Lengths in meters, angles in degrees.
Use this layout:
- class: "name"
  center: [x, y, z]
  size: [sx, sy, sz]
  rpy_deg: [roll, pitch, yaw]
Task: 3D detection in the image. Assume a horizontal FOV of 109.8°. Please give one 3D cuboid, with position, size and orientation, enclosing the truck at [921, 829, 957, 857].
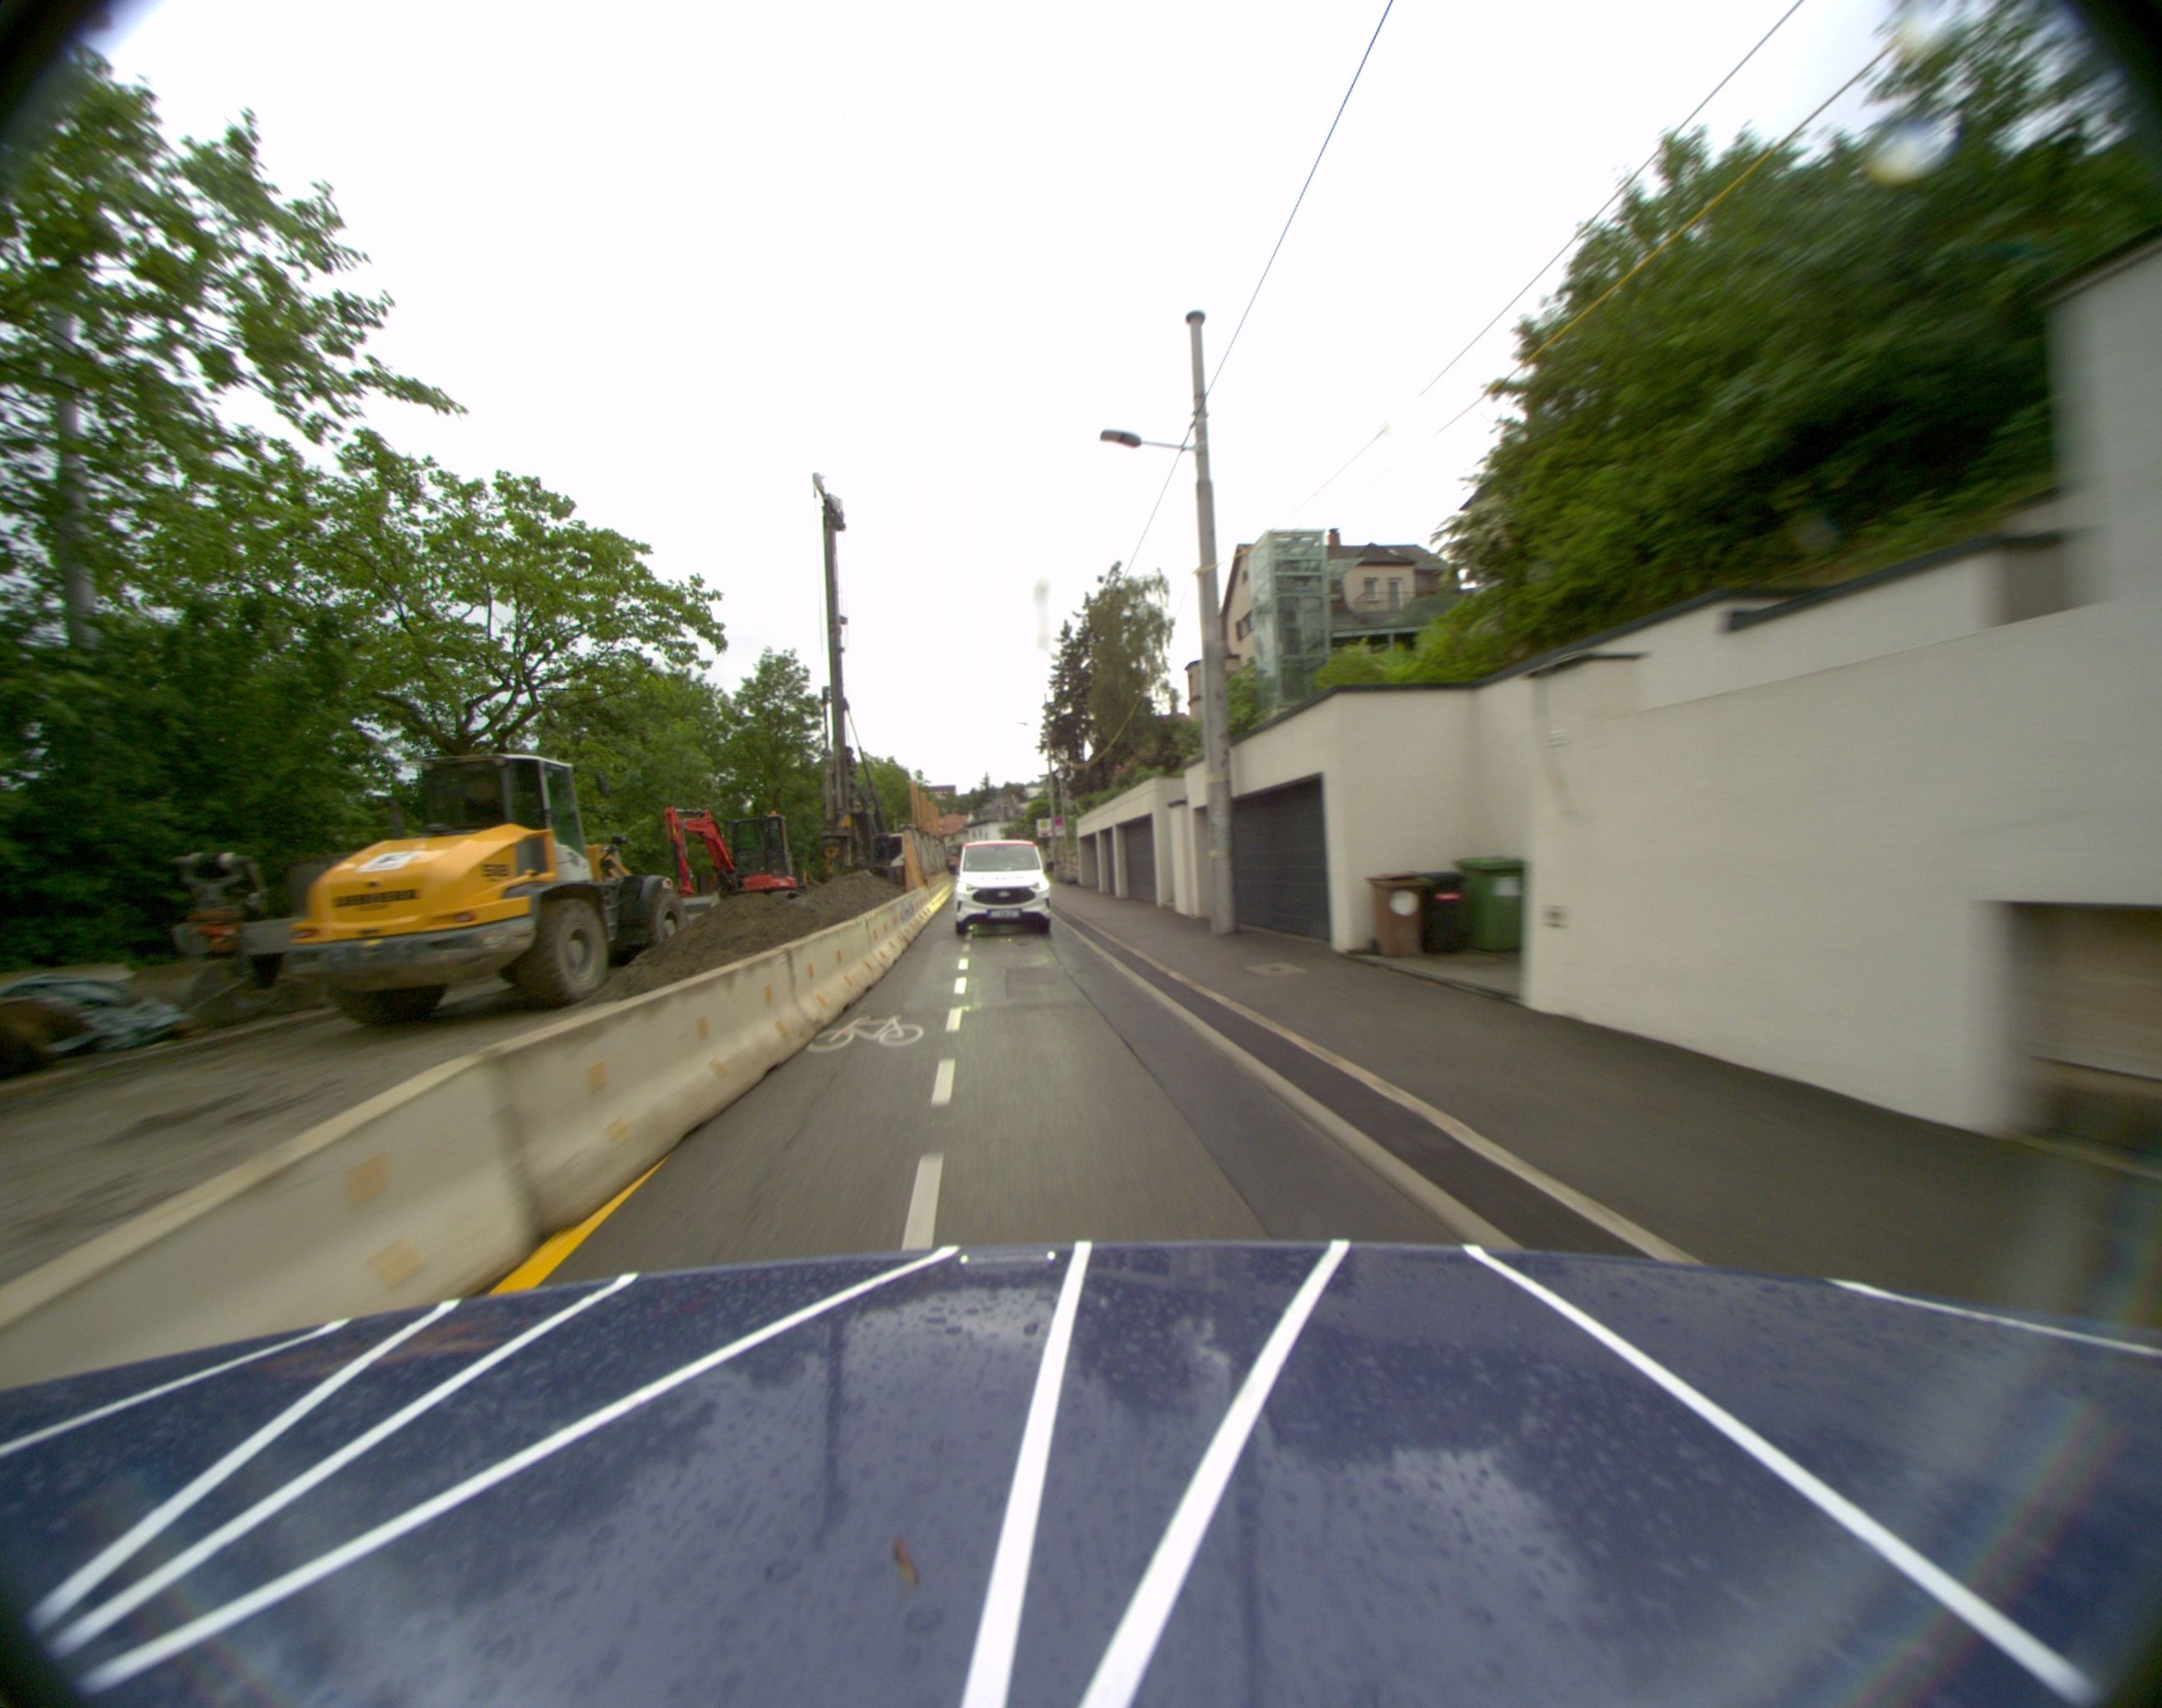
- class: "truck"
  center: [-11.108, -0.874, 59.634]
  size: [2.559, 2.096, 3.301]
  rpy_deg: [-2, 1, -8]

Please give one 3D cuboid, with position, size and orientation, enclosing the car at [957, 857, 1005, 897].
- class: "car"
  center: [-4.552, 1.006, 34.936]
  size: [1.890, 1.565, 3.998]
  rpy_deg: [-4, 0, -5]

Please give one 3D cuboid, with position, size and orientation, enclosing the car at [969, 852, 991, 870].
- class: "car"
  center: [-9.919, 0.660, 75.002]
  size: [1.890, 1.565, 3.998]
  rpy_deg: [-4, 0, -5]

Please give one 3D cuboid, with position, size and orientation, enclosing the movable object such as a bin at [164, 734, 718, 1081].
- class: "movable object such as a bin"
  center: [-7.251, 0.443, 9.875]
  size: [2.501, 3.058, 5.585]
  rpy_deg: [-4, 1, -5]

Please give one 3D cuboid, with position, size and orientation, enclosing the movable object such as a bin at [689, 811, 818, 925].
- class: "movable object such as a bin"
  center: [-8.433, 0.308, 19.909]
  size: [2.102, 2.587, 3.174]
  rpy_deg: [-4, 2, -7]

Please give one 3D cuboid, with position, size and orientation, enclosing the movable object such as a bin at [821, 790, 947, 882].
- class: "movable object such as a bin"
  center: [-11.740, -1.071, 46.149]
  size: [3.686, 5.037, 7.172]
  rpy_deg: [-2, 1, 21]

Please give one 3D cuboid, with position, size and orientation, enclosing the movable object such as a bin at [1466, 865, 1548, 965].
- class: "movable object such as a bin"
  center: [4.715, 0.657, 8.433]
  size: [0.505, 1.016, 0.586]
  rpy_deg: [-4, 2, -8]

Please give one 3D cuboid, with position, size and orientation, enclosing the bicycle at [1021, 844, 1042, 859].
- class: "bicycle"
  center: [-4.115, -0.220, 63.239]
  size: [1.622, 1.124, 0.443]
  rpy_deg: [-4, 2, 6]

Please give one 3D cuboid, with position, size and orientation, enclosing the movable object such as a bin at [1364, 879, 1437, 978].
- class: "movable object such as a bin"
  center: [3.565, 0.819, 8.511]
  size: [0.505, 1.016, 0.522]
  rpy_deg: [-4, 2, -8]

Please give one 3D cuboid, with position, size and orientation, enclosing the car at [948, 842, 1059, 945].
- class: "car"
  center: [-1.872, 0.735, 17.541]
  size: [2.047, 1.883, 5.204]
  rpy_deg: [-4, 1, -8]

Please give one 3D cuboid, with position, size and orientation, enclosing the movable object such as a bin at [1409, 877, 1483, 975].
- class: "movable object such as a bin"
  center: [4.094, 0.790, 8.542]
  size: [0.505, 1.016, 0.522]
  rpy_deg: [-4, 2, -8]
